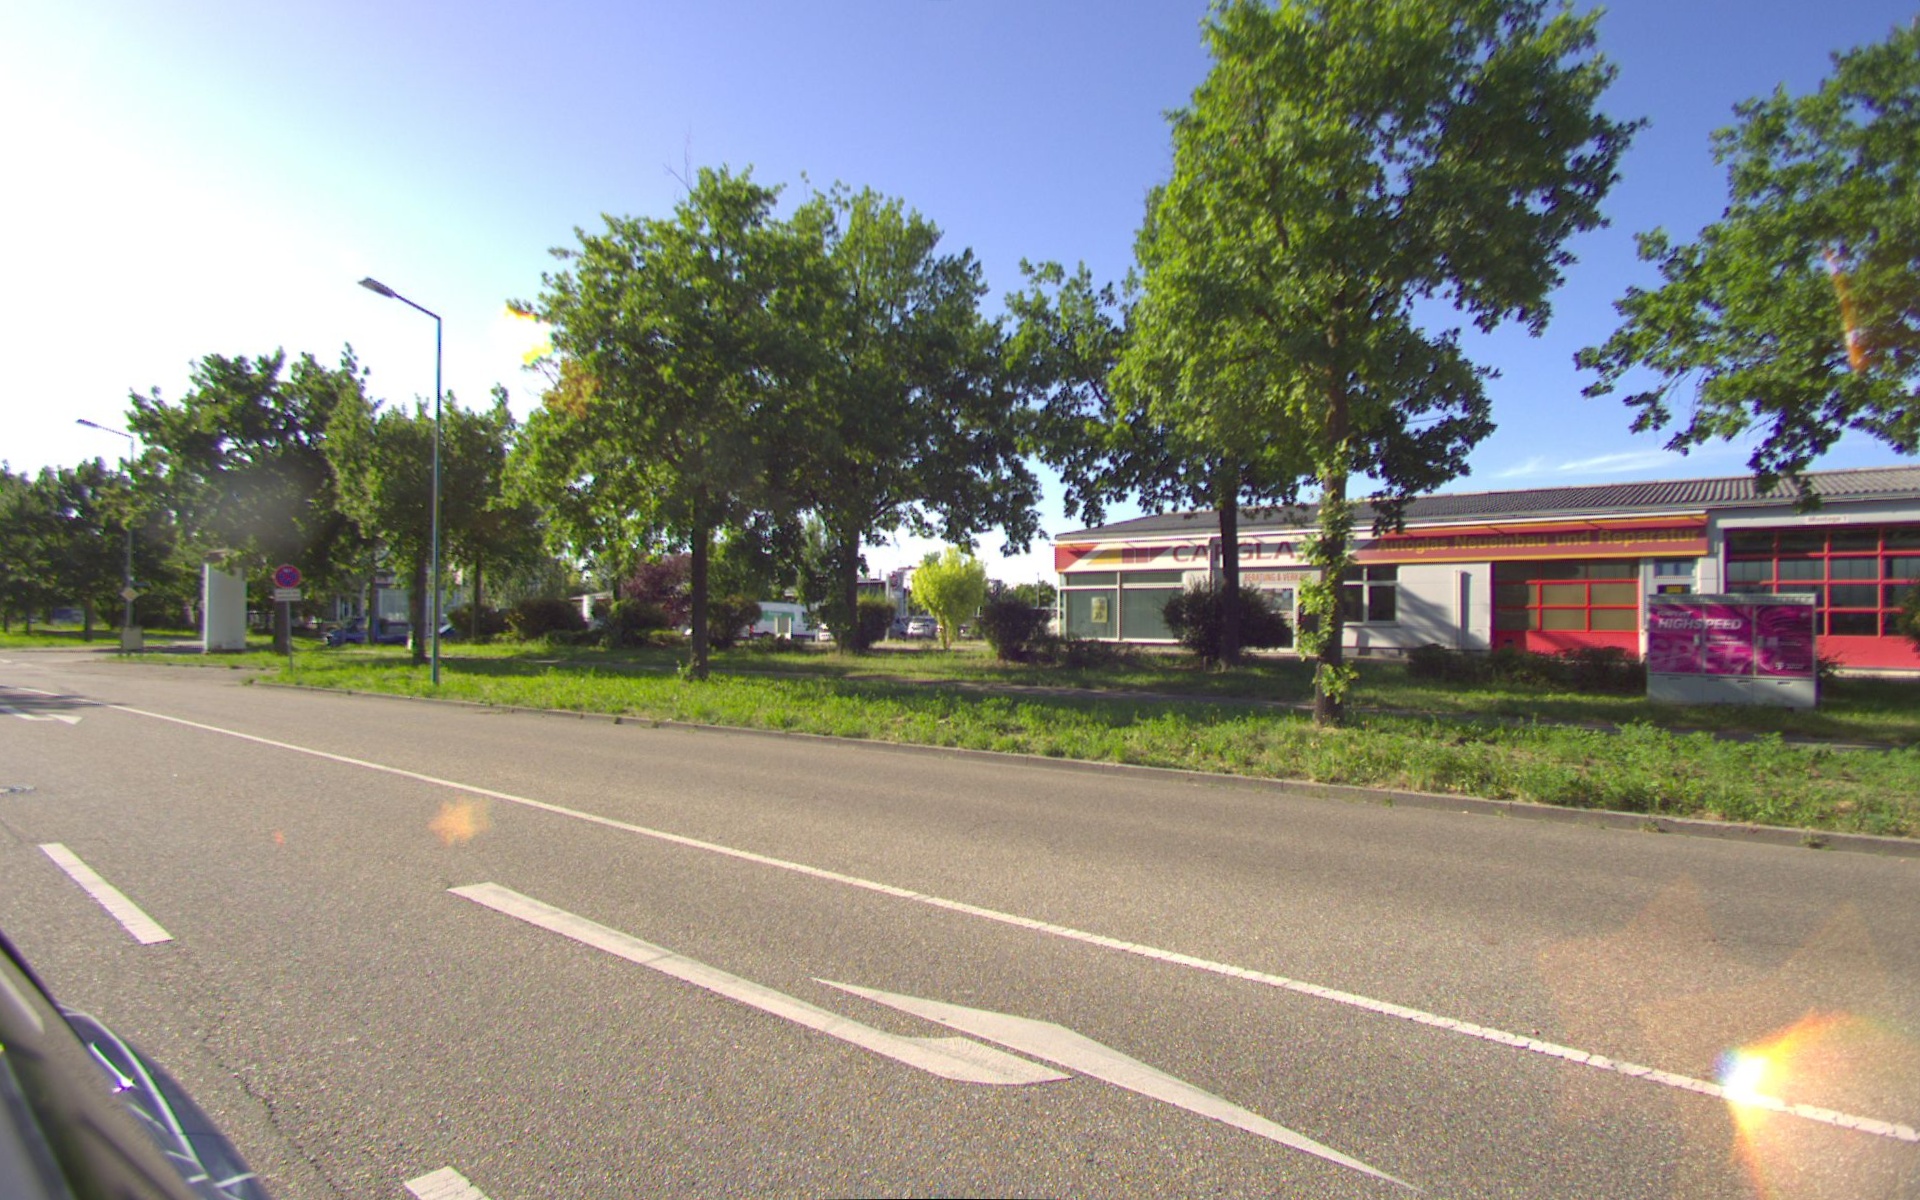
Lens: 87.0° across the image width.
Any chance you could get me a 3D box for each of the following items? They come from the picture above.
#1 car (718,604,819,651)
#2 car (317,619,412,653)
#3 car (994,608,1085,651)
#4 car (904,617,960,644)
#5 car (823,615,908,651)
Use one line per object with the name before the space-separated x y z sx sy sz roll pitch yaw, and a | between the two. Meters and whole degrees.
car | -11.451 1.597 60.994 2.406 2.574 5.952 -1 0 36
car | -35.970 2.155 61.227 1.999 1.847 4.578 -1 0 41
car | 3.216 1.154 40.600 1.734 1.583 3.769 -3 -1 40
car | -1.871 2.050 68.618 1.761 1.684 3.811 -1 0 40
car | -5.144 1.766 55.783 1.989 1.795 4.583 -1 0 40
